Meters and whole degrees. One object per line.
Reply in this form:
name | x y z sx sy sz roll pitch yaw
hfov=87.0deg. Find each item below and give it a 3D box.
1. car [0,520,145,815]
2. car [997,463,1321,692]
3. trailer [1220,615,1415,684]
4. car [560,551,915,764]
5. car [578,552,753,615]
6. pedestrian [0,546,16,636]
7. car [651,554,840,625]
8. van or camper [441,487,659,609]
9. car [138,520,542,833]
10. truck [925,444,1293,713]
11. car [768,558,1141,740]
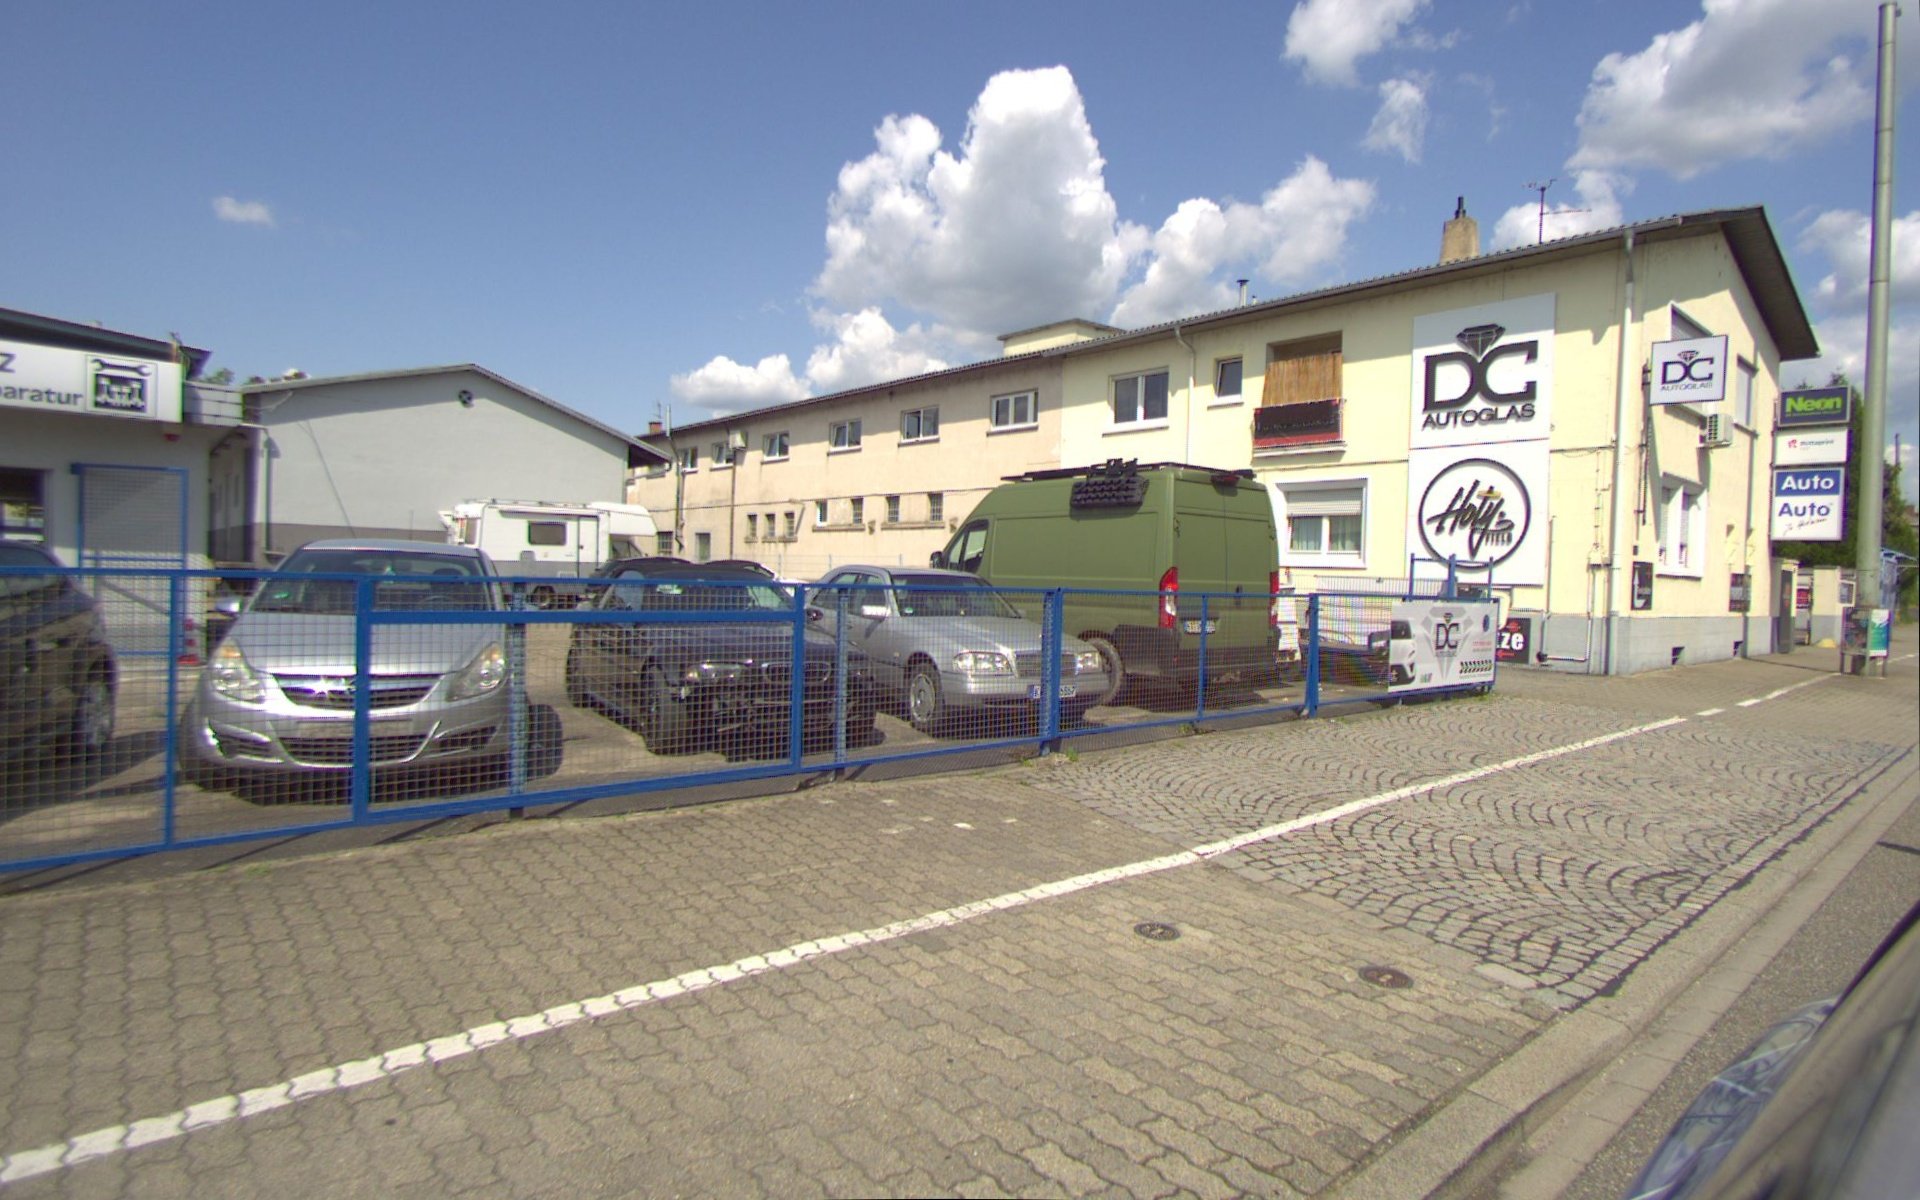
car | -5.744 0.323 5.033 1.685 1.497 4.012 1 2 -25
car | 2.614 -0.346 14.143 1.771 2.702 4.208 1 2 -40
trailer | 5.084 0.669 14.528 1.245 0.776 2.330 0 2 -39
car | -2.122 0.309 8.746 1.768 1.403 3.837 1 2 -32
car | -7.477 -0.412 25.889 3.939 1.497 1.719 0 2 -41
pedestrian | -13.256 -0.130 13.840 0.479 1.228 0.501 1 1 -42
car | -4.924 -0.248 23.519 3.939 1.497 1.719 0 2 -41
van or camper | -11.006 -1.325 27.367 4.971 2.999 2.284 0 2 -42
car | -3.948 0.301 7.102 1.766 1.497 4.158 1 2 -24
truck | 1.626 -0.286 12.145 2.033 2.639 3.996 1 2 -40
car | -0.294 0.319 10.205 1.768 1.413 4.216 1 2 -33
